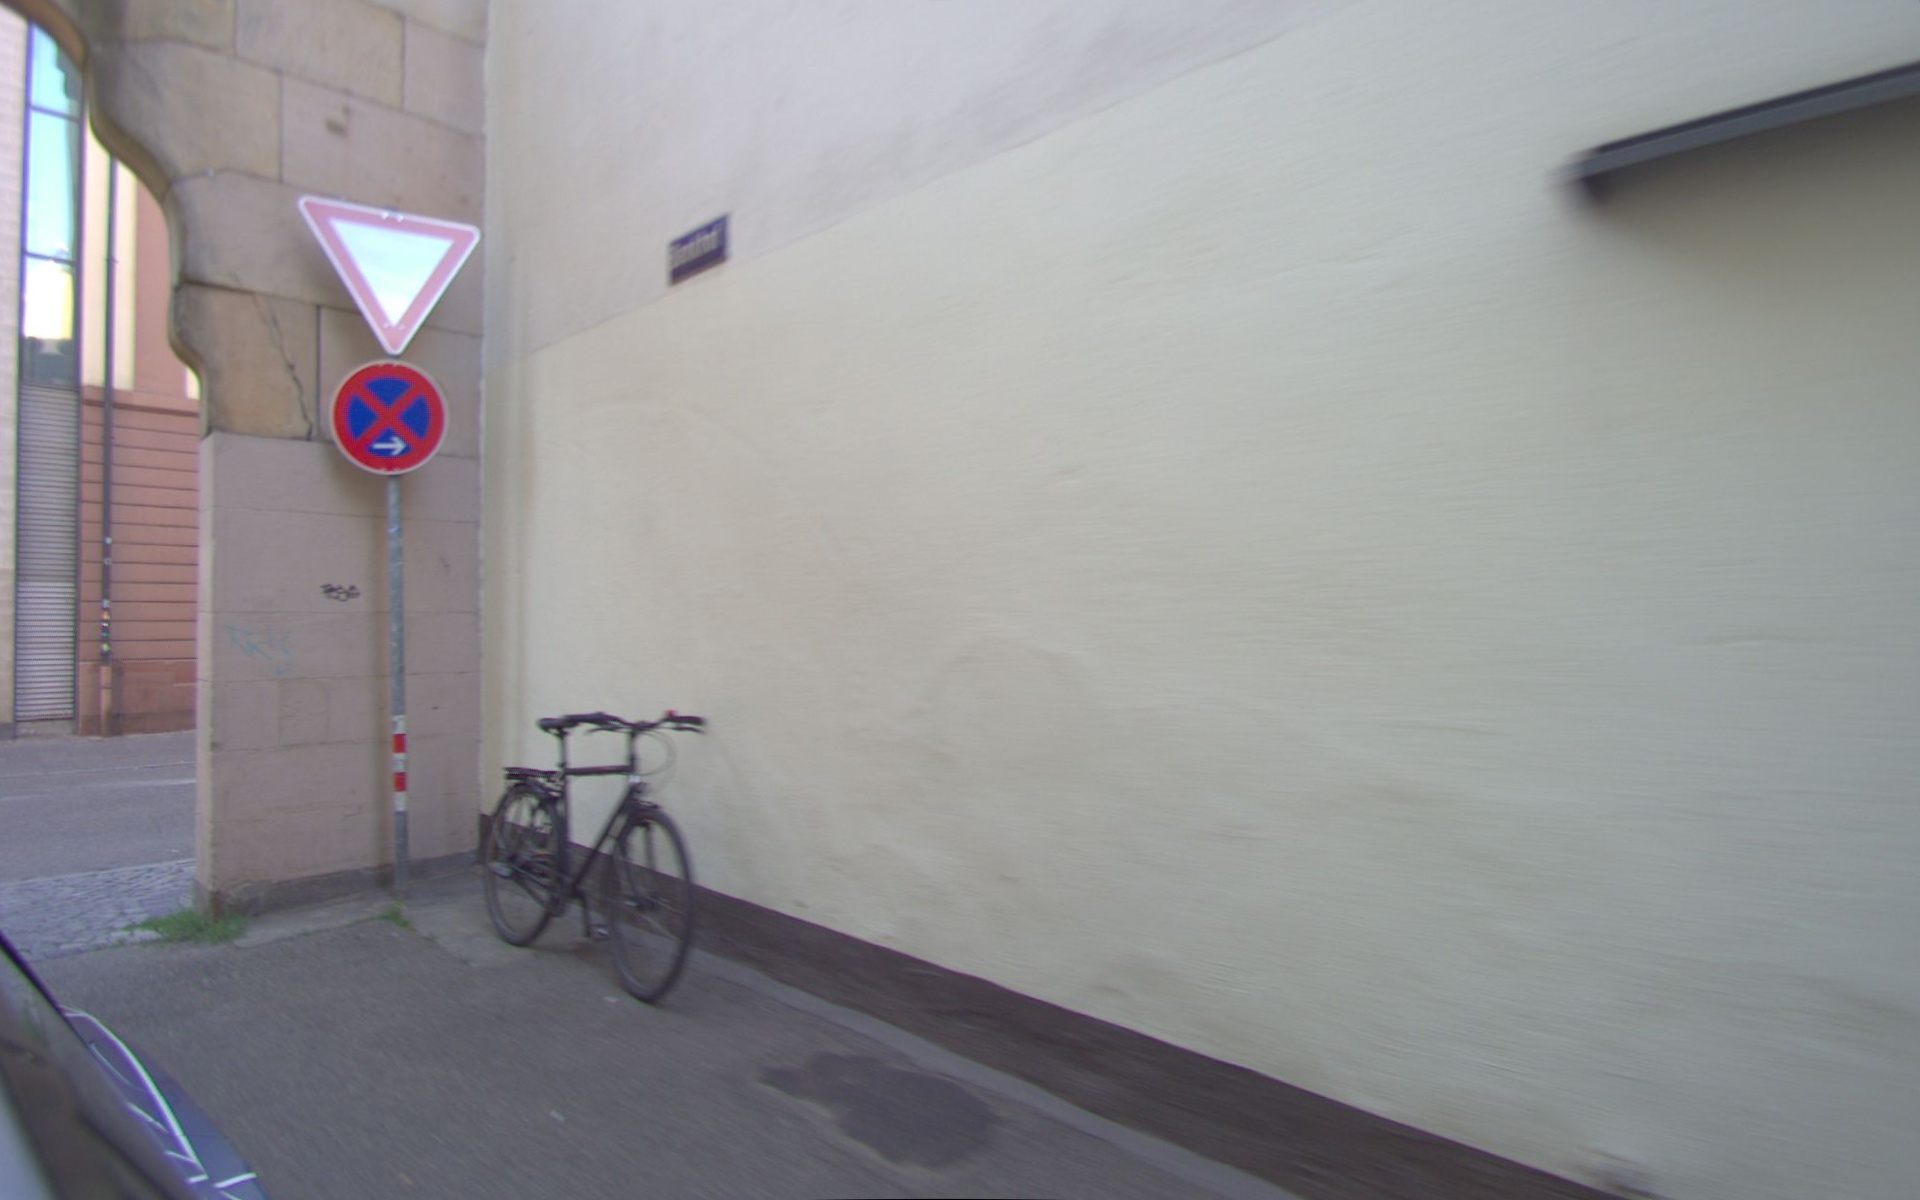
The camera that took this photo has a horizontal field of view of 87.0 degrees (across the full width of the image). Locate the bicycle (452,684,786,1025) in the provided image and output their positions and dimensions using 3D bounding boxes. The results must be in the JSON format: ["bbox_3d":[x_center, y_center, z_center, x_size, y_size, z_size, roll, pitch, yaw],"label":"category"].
[{"bbox_3d":[-1.498,0.925,4.245,1.756,1.087,0.588,-3,-3,44],"label":"bicycle"}]
